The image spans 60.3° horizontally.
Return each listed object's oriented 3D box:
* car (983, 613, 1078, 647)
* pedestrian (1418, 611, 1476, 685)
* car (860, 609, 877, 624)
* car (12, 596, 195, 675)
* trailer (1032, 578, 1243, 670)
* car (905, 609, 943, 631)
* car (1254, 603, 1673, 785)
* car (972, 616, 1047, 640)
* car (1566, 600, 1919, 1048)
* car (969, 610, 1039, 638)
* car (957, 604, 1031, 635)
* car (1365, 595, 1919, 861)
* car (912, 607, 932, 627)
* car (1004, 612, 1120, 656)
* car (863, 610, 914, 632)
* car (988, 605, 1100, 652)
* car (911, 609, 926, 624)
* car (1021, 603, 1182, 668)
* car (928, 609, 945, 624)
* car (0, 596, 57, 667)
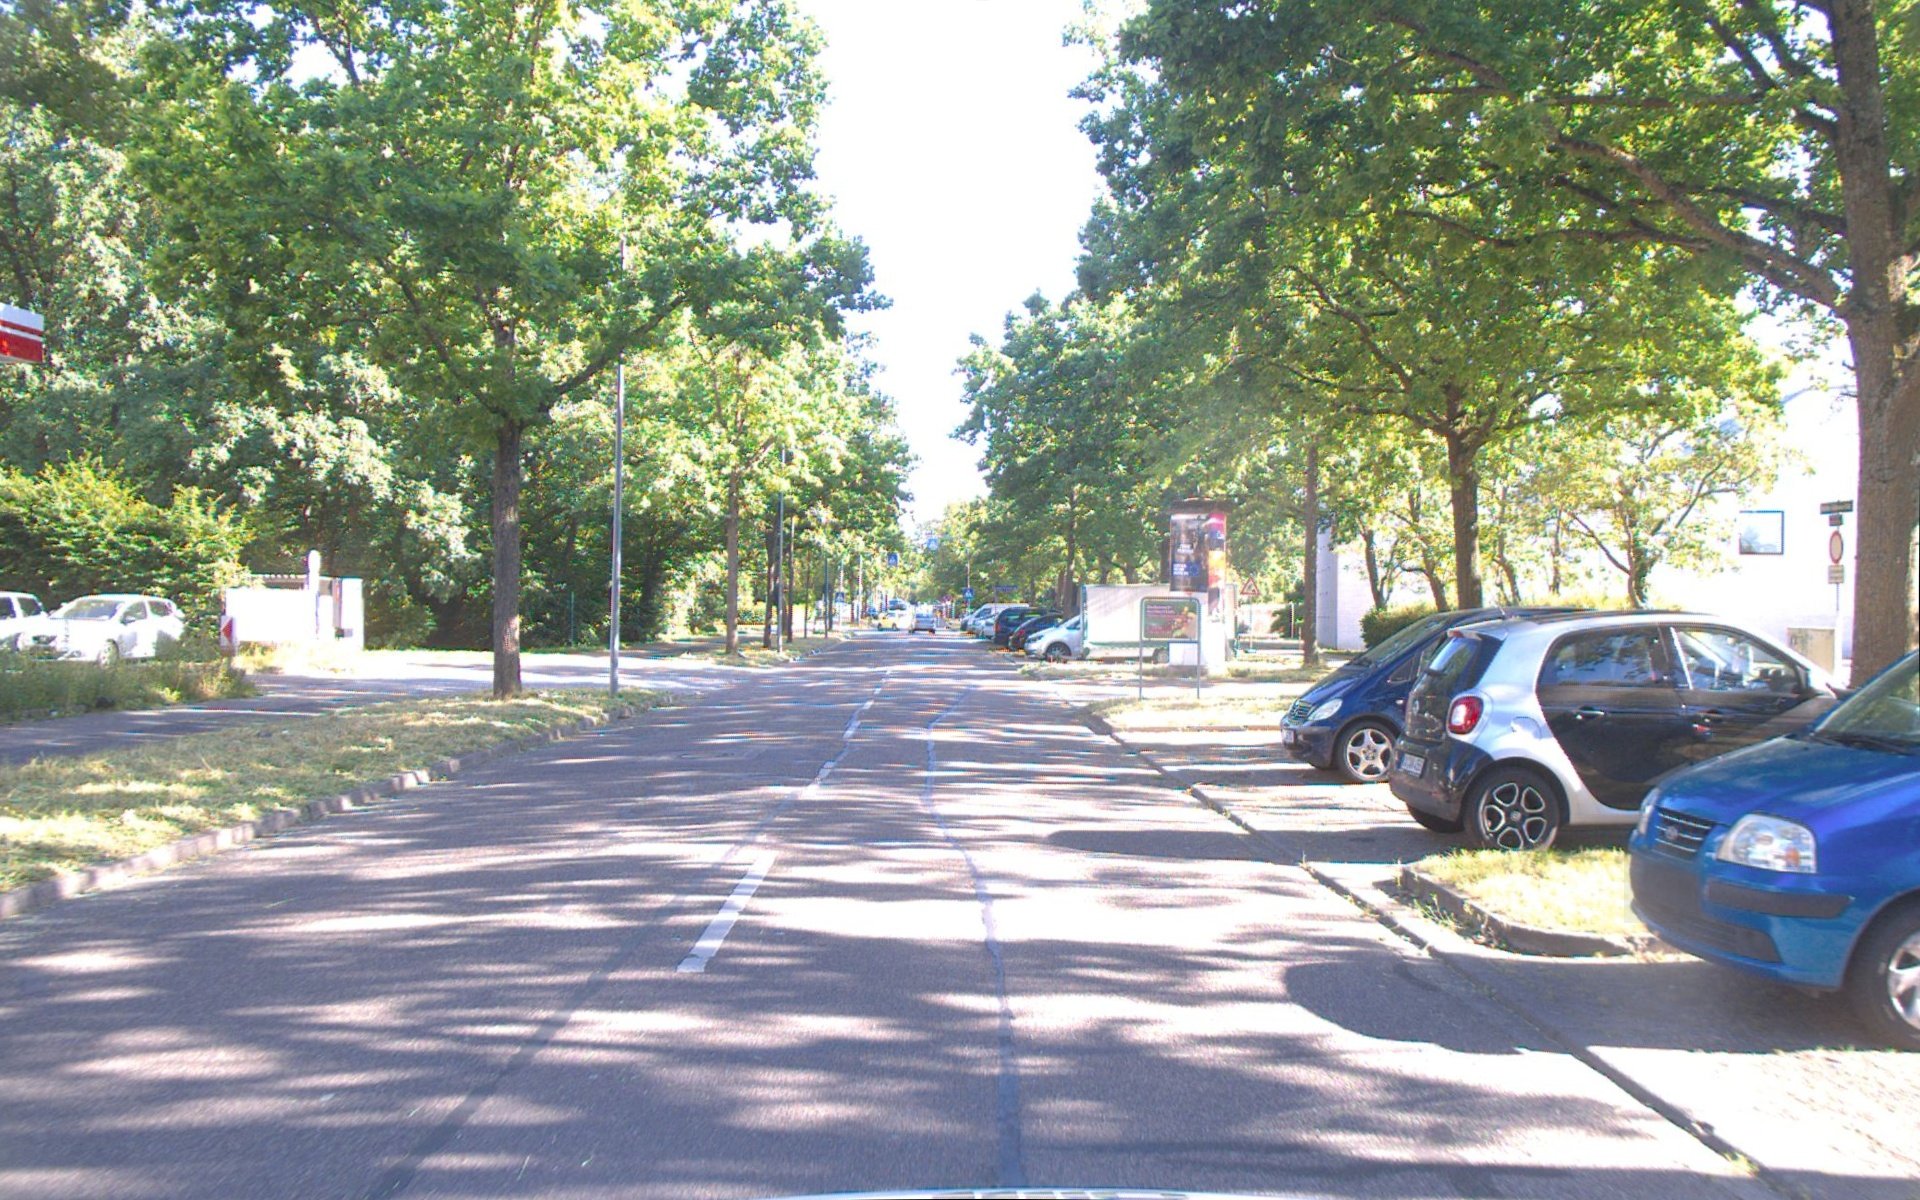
[{"bbox_3d":[3.487,1.490,82.505,4.576,1.608,1.916,-1,0,-1],"label":"car"},{"bbox_3d":[10.256,0.996,34.816,0.868,1.526,0.939,-1,0,39],"label":"pedestrian"},{"bbox_3d":[-10.980,1.984,198.097,1.953,1.747,3.998,1,-1,-2],"label":"car"},{"bbox_3d":[-17.161,0.698,33.314,1.513,1.447,3.489,2,0,6],"label":"car"},{"bbox_3d":[4.874,0.661,45.919,5.656,2.358,1.686,-1,-1,0],"label":"trailer"},{"bbox_3d":[-2.565,1.448,117.562,1.959,1.510,3.987,1,-1,-13],"label":"car"},{"bbox_3d":[4.846,0.881,16.272,3.511,1.604,1.856,-1,-1,-3],"label":"car"},{"bbox_3d":[2.901,1.645,97.701,4.355,1.414,1.910,0,0,-2],"label":"car"},{"bbox_3d":[4.479,0.766,6.653,3.449,1.559,1.665,-1,-1,0],"label":"car"},{"bbox_3d":[2.780,1.526,105.306,4.297,1.680,1.850,-1,0,-4],"label":"car"},{"bbox_3d":[2.355,1.383,115.608,5.084,2.142,2.081,0,-1,-3],"label":"car"},{"bbox_3d":[4.742,0.810,11.272,3.510,1.604,1.786,-1,-1,0],"label":"car"},{"bbox_3d":[-3.951,1.775,171.309,1.953,1.967,3.998,1,-1,-2],"label":"car"},{"bbox_3d":[3.758,1.256,61.533,4.158,1.545,2.078,-1,-1,0],"label":"car"},{"bbox_3d":[-5.437,1.585,125.526,1.978,1.685,3.947,1,-1,-37],"label":"car"},{"bbox_3d":[3.434,1.172,68.232,4.438,1.833,1.935,-1,-1,-2],"label":"car"},{"bbox_3d":[-5.610,2.242,221.716,1.953,2.003,3.998,1,-1,-2],"label":"car"},{"bbox_3d":[4.124,1.028,48.720,4.547,1.752,1.987,-1,-1,-1],"label":"car"},{"bbox_3d":[-2.754,1.886,192.231,1.953,1.747,3.998,1,-1,-2],"label":"car"},{"bbox_3d":[-19.799,0.621,33.100,1.392,1.391,3.207,2,0,6],"label":"car"}]
